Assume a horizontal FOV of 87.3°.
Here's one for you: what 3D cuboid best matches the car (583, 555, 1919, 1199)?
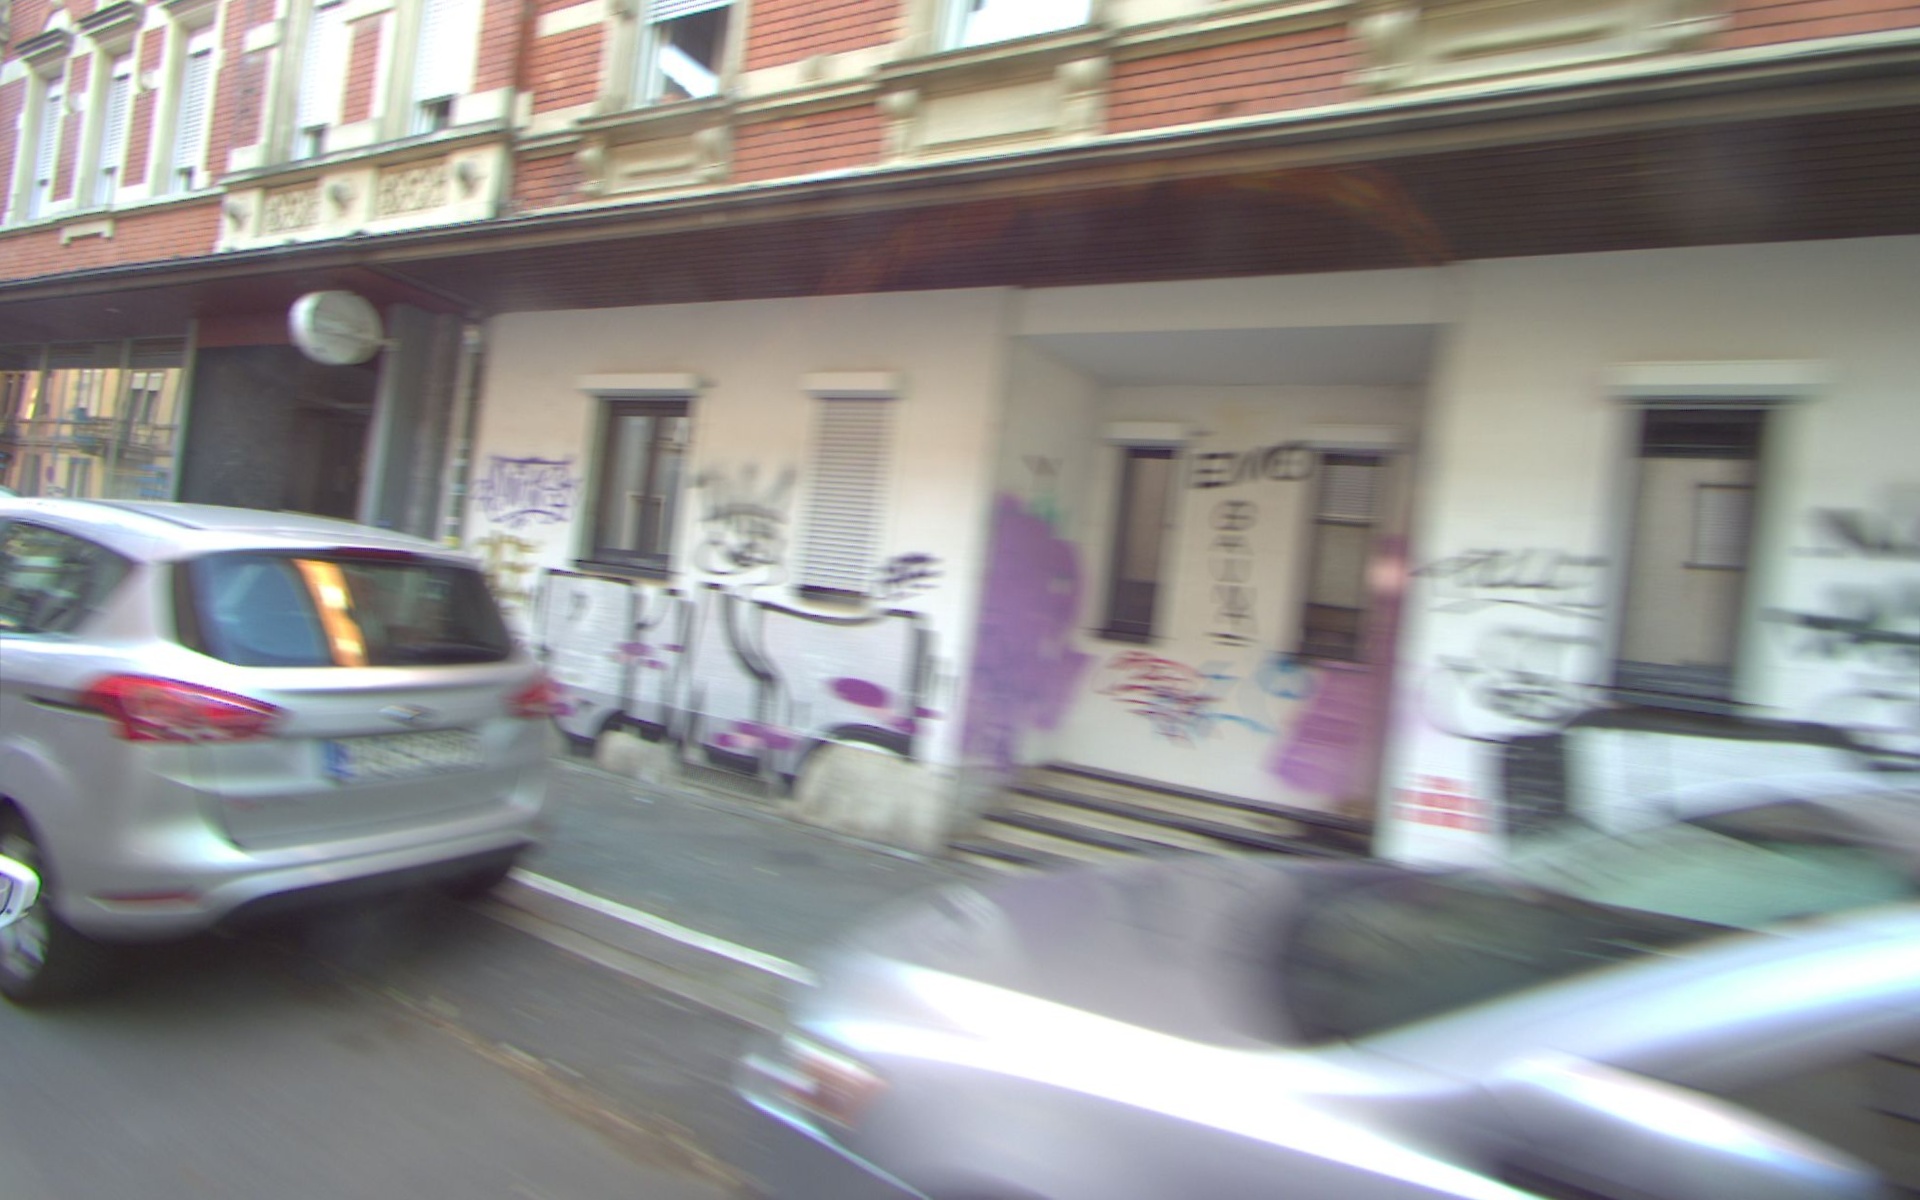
[{"bbox_3d":[1.619,1.003,1.614,4.323,1.580,1.725,7,-1,29],"label":"car"}]

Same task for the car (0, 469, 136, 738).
[{"bbox_3d":[-8.013,-0.192,7.221,4.267,1.695,1.750,6,-1,30],"label":"car"}]

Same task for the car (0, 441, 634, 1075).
[{"bbox_3d":[-3.465,0.323,4.341,3.804,1.675,1.643,6,-1,30],"label":"car"}]
